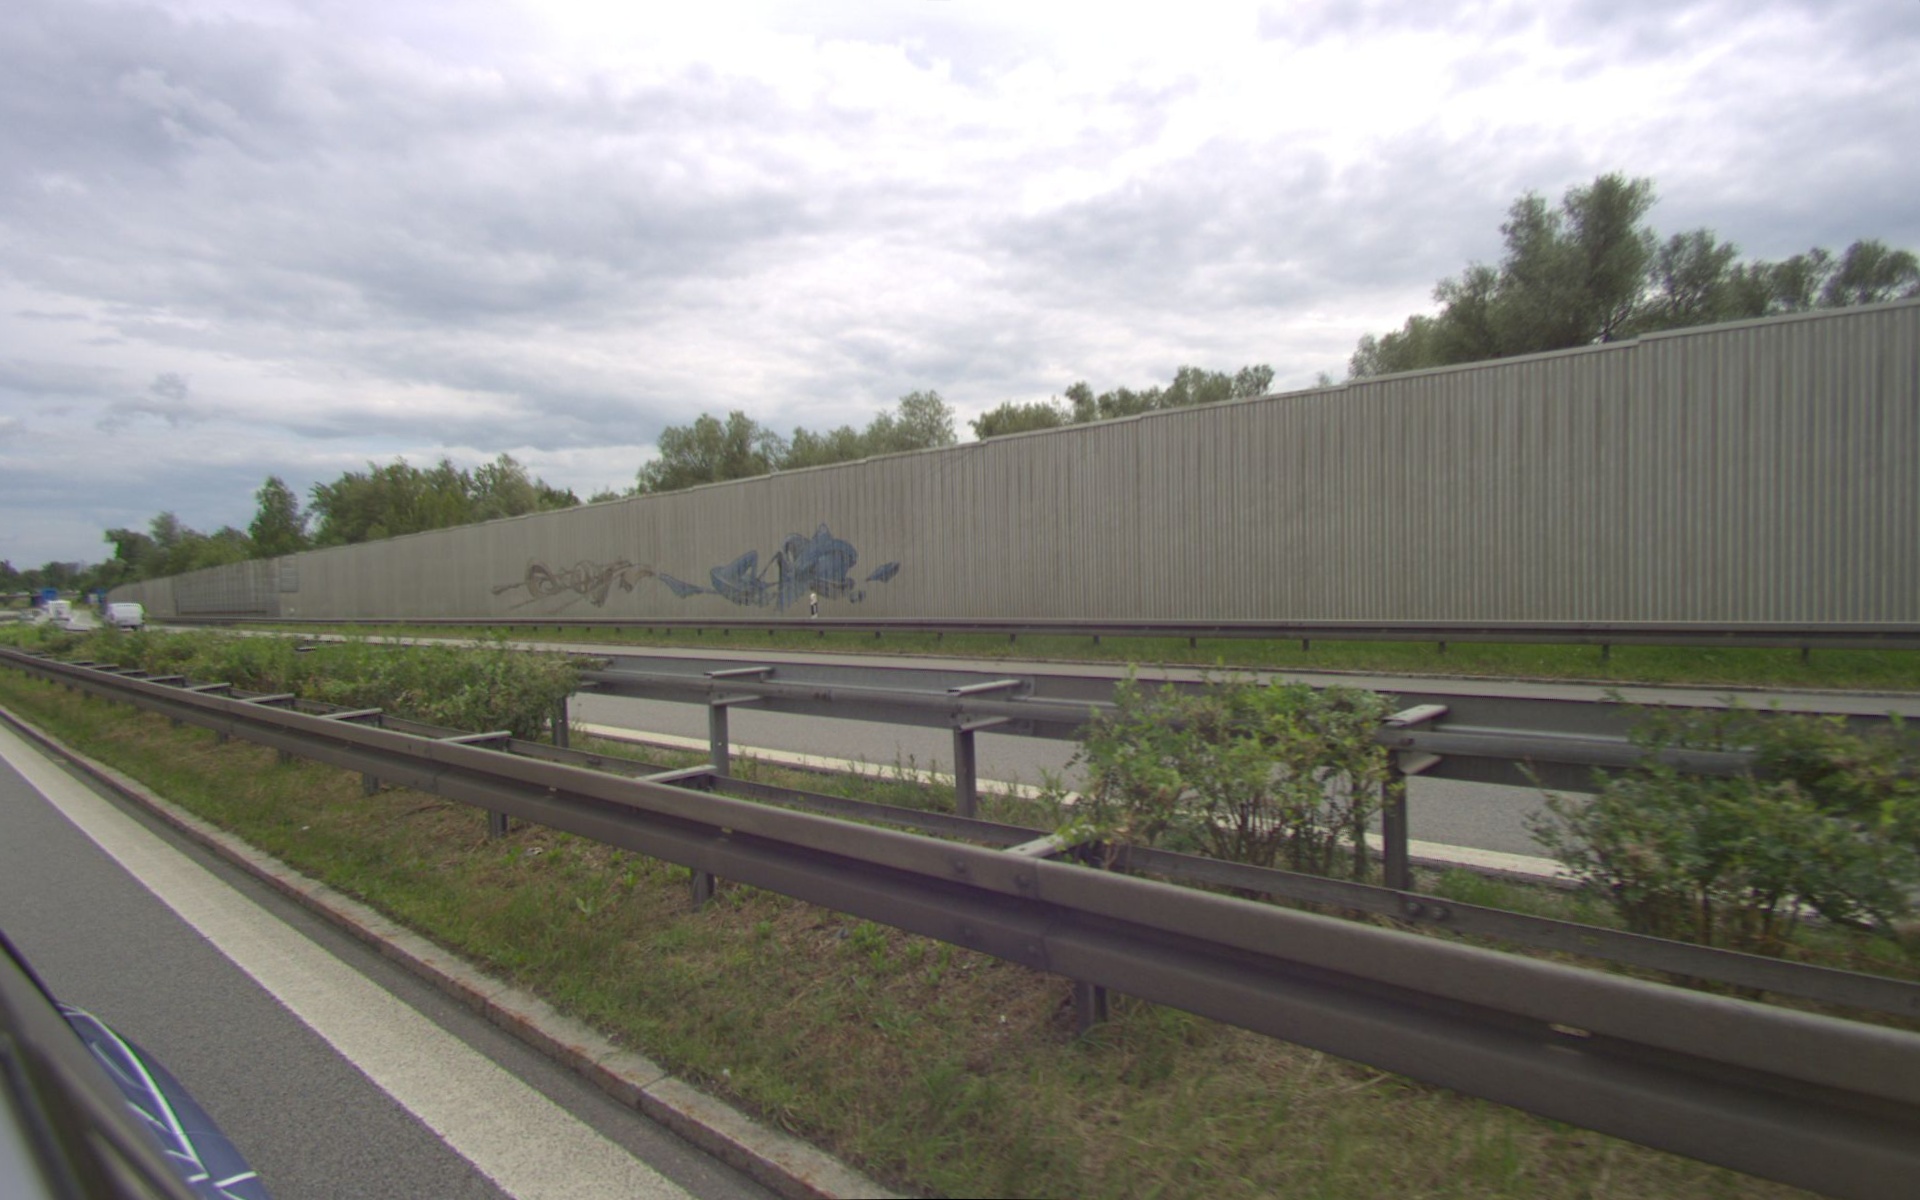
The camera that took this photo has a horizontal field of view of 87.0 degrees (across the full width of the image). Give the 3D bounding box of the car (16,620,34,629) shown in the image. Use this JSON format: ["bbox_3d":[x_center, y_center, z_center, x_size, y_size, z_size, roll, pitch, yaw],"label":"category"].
[{"bbox_3d":[-143.909,3.738,155.781,1.670,1.431,4.657,0,-1,-38],"label":"car"}]

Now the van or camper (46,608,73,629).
[{"bbox_3d":[-127.007,2.602,142.782,2.435,2.891,7.783,-1,0,-39],"label":"van or camper"}]

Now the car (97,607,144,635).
[{"bbox_3d":[-54.235,1.345,65.350,4.627,1.758,1.723,-1,-1,43],"label":"car"}]
